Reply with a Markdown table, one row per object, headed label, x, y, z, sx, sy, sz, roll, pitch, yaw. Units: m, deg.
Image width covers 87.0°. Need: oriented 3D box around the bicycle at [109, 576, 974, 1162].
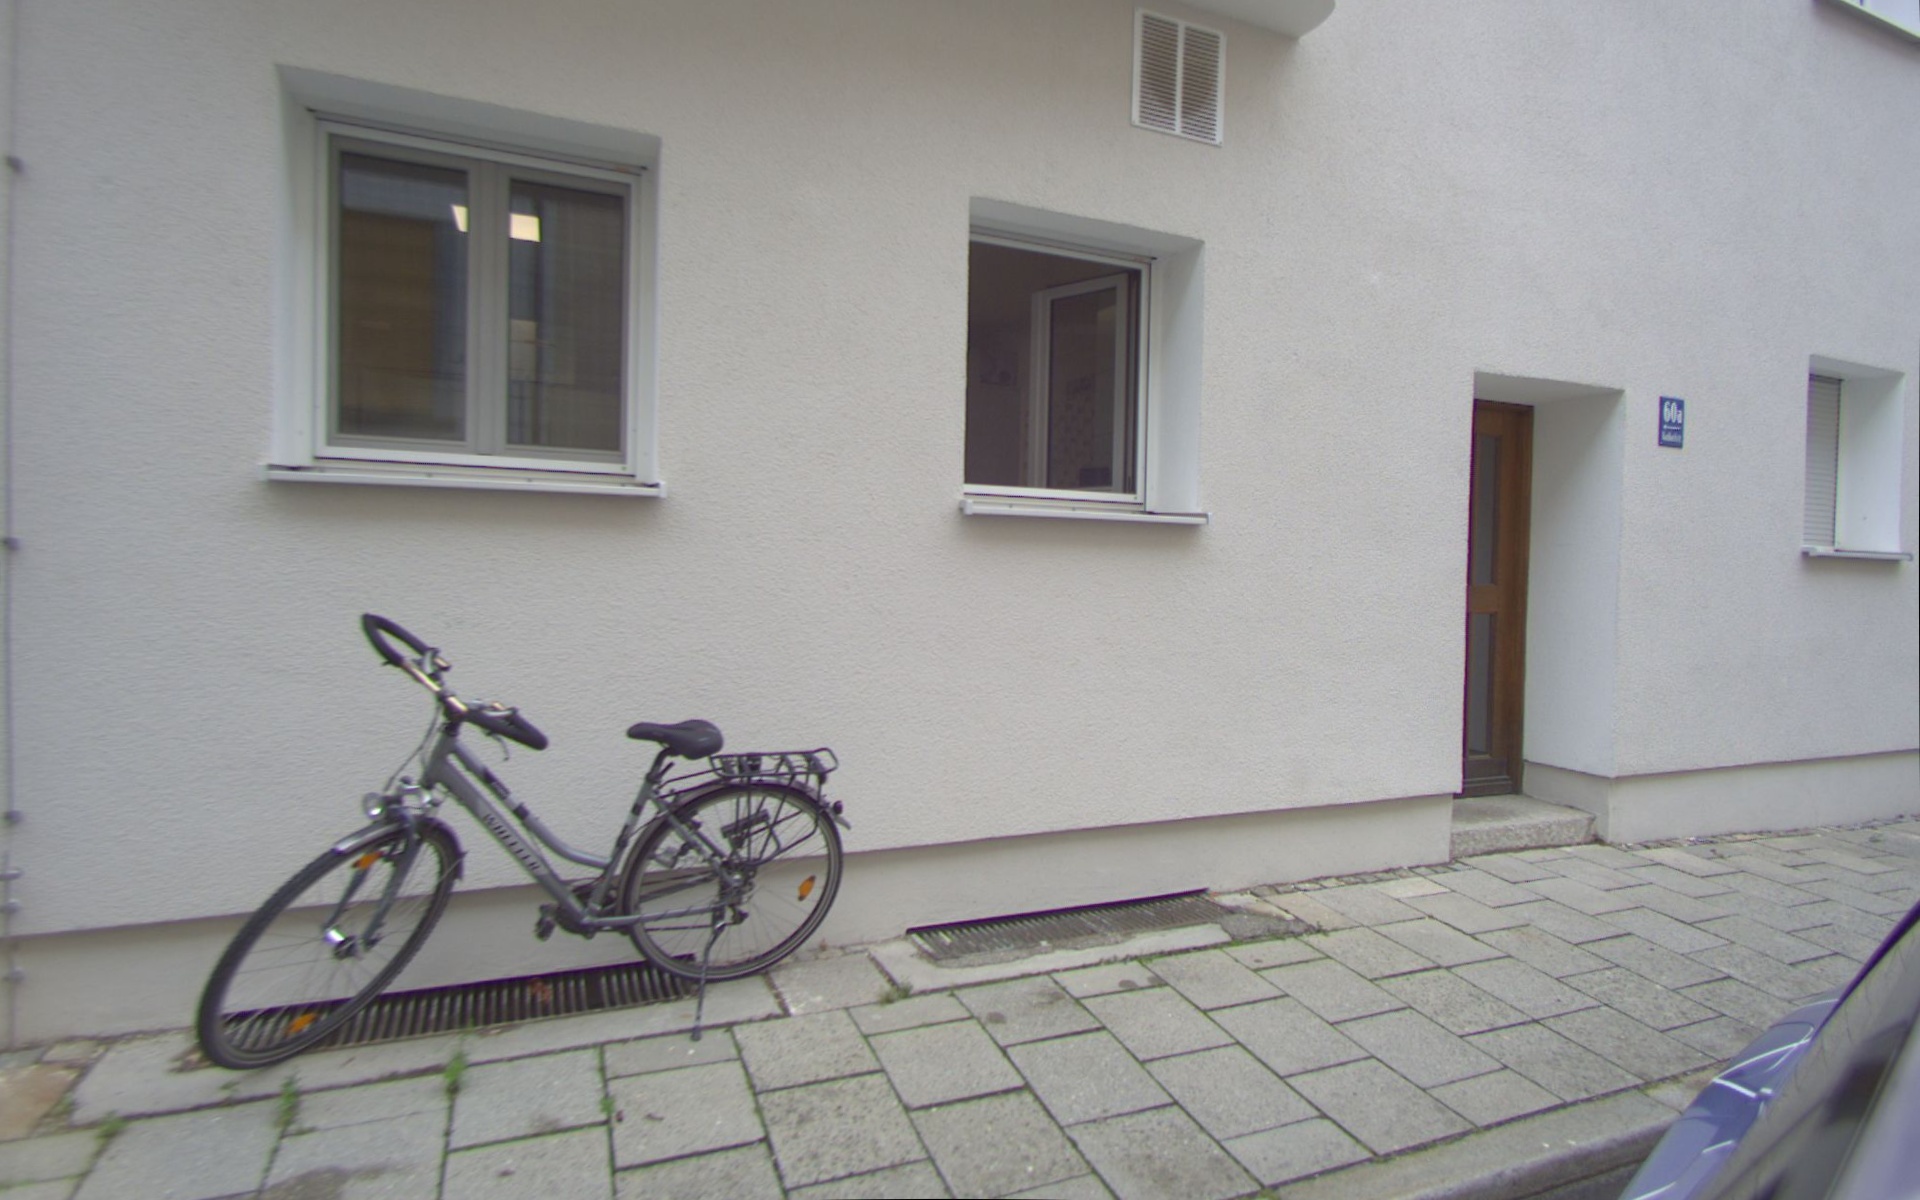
| label | x | y | z | sx | sy | sz | roll | pitch | yaw |
| --- | --- | --- | --- | --- | --- | --- | --- | --- | --- |
| bicycle | -0.980 | 0.568 | 2.705 | 1.875 | 1.166 | 0.642 | 1 | 4 | -23 |
